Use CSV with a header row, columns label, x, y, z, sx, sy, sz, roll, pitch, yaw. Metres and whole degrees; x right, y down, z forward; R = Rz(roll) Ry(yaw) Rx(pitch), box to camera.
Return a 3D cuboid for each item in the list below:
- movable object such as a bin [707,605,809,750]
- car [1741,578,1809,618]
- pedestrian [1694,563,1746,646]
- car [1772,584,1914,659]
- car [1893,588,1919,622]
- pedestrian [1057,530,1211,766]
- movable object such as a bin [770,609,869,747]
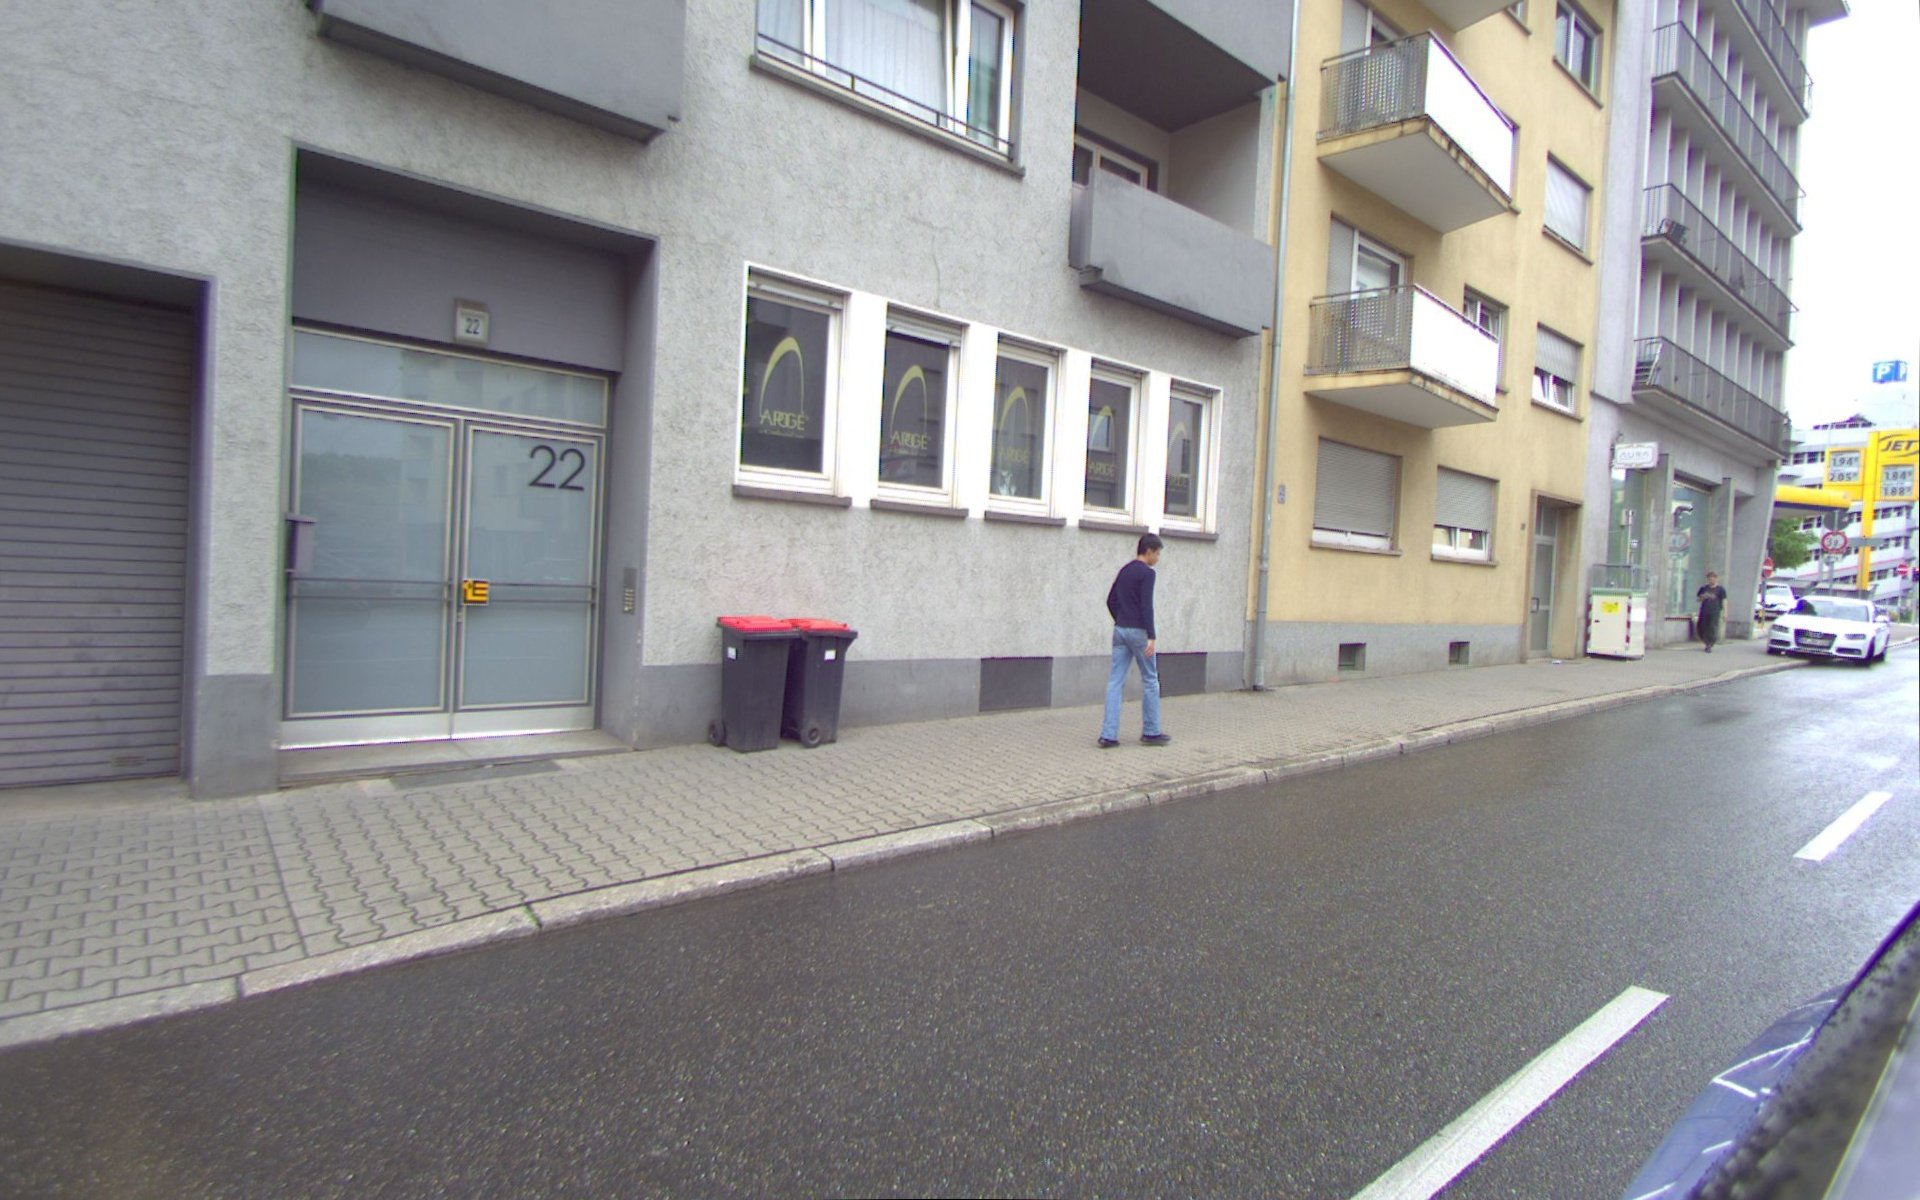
label,x,y,z,sx,sy,sz,roll,pitch,yaw
movable object such as a bin,-1.488,0.547,7.442,0.506,0.967,0.541,0,5,-40
car,32.282,-0.092,40.036,1.766,1.493,3.936,0,0,44
pedestrian,16.847,0.094,22.441,0.873,1.777,0.679,0,3,-41
car,20.109,0.423,22.999,4.093,1.453,1.803,0,4,-41
car,53.845,0.377,55.132,1.960,1.782,4.005,1,3,-31
pedestrian,1.441,0.358,8.367,1.038,1.799,0.644,0,5,-41
movable object such as a bin,-1.084,0.580,7.782,0.506,0.961,0.541,0,5,-40
